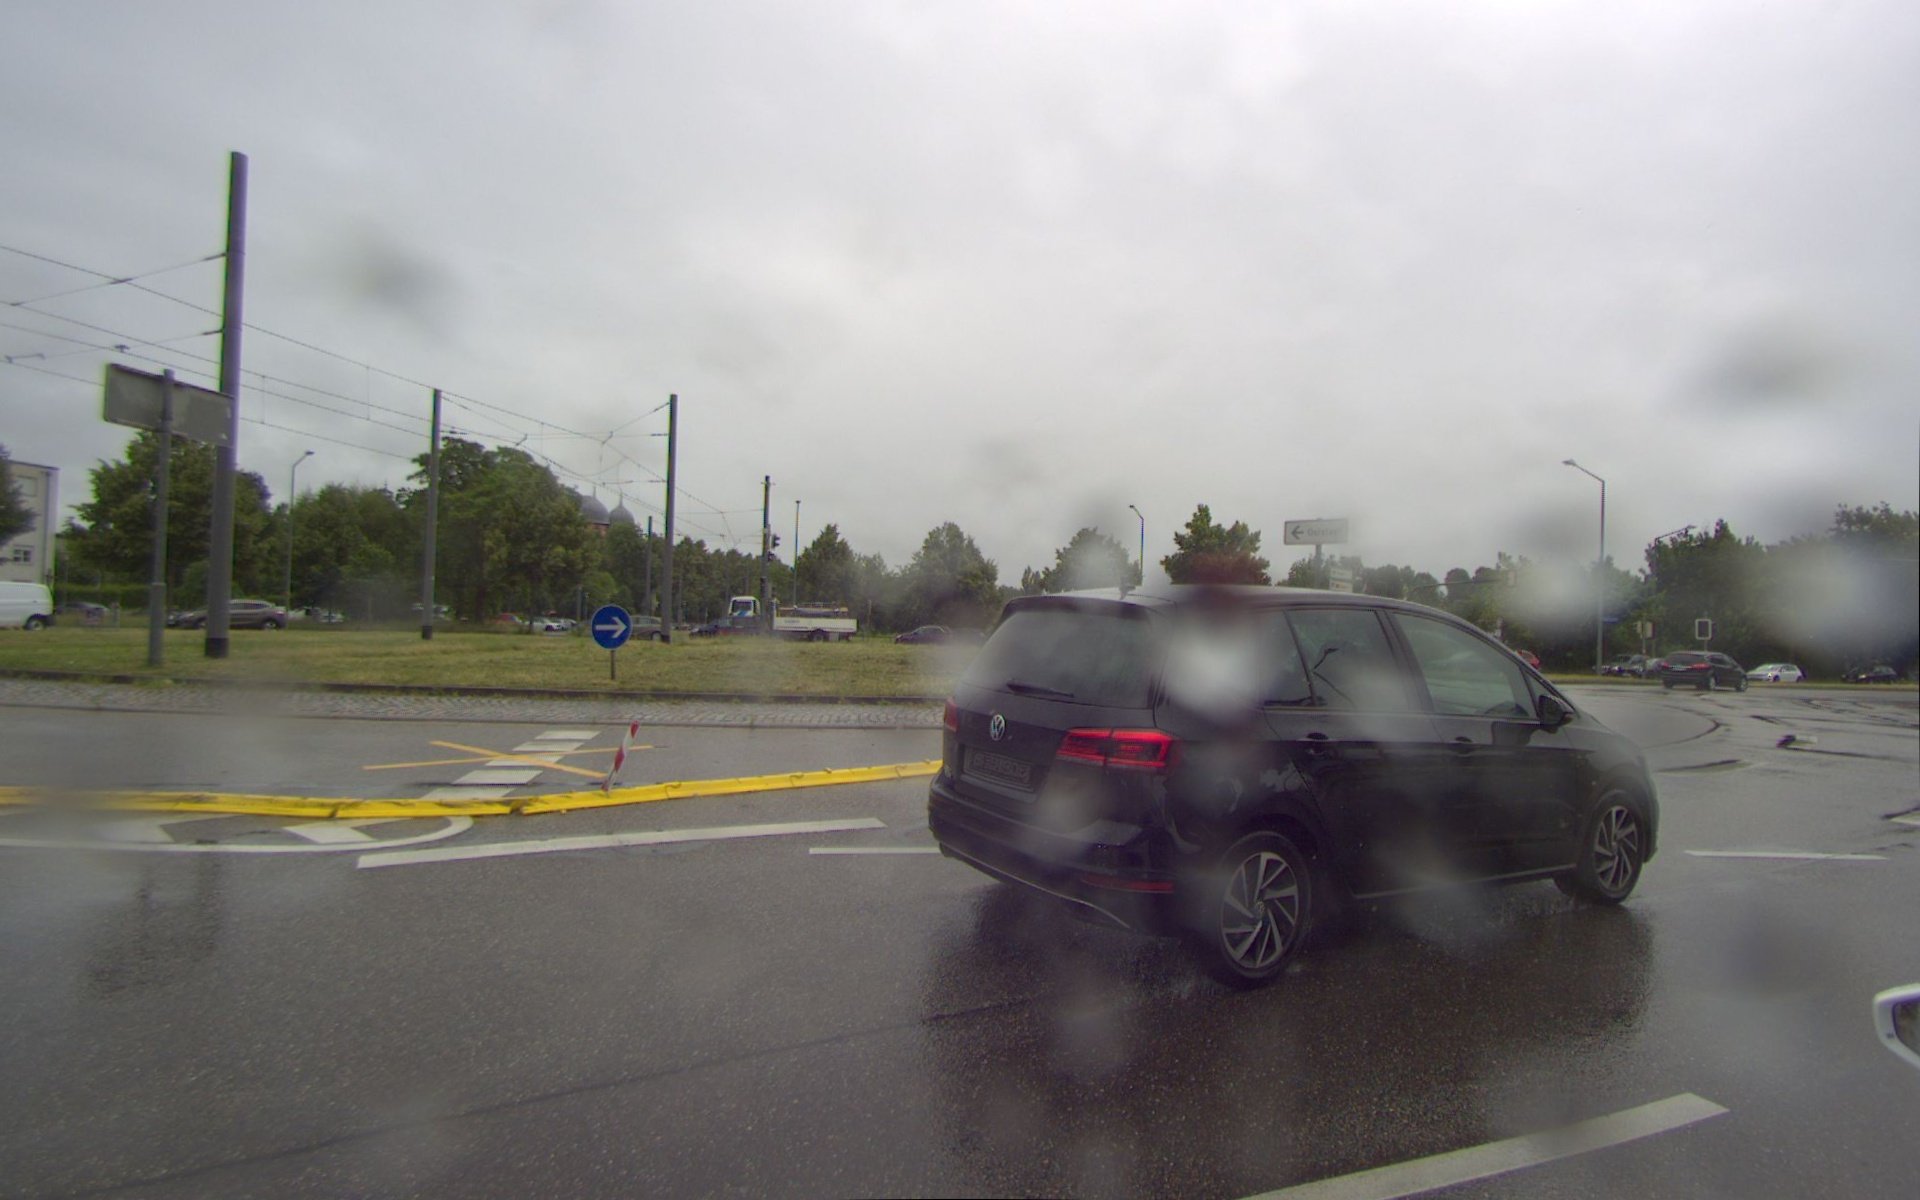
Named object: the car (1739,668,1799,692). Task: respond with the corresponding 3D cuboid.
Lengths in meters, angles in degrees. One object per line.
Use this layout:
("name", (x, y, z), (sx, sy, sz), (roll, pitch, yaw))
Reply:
("car", (55.758, 5.514, 69.208), (4.196, 1.394, 1.621), (5, -1, -27))

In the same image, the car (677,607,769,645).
("car", (-13.255, 1.445, 56.403), (4.780, 1.767, 1.775), (4, -1, -10))

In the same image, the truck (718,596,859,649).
("truck", (-10.988, 1.450, 64.948), (8.633, 2.747, 1.998), (4, -1, -6))

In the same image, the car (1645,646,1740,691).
("car", (31.822, 2.970, 43.606), (3.952, 1.669, 1.776), (5, -1, -29))

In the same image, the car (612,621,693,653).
("car", (-18.260, 2.192, 59.629), (4.480, 1.511, 1.604), (4, -1, -19))

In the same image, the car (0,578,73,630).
("car", (-34.609, 0.118, 35.793), (1.798, 1.746, 4.168), (4, -1, 12))

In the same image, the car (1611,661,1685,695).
("car", (41.152, 4.666, 60.060), (4.339, 1.669, 1.776), (5, -1, -28))

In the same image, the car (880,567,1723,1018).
("car", (1.911, 0.737, 5.265), (4.280, 1.537, 1.775), (3, -1, -30))

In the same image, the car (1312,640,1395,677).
("car", (22.157, 3.283, 56.722), (4.064, 1.669, 1.790), (4, -1, 14))

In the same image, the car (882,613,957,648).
("car", (-2.287, 1.735, 57.332), (3.919, 1.669, 1.790), (4, -1, 10))

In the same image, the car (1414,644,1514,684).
("car", (26.563, 3.356, 53.063), (4.305, 1.669, 1.790), (4, -1, 8))

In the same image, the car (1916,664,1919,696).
("car", (52.541, 4.360, 53.002), (3.895, 1.669, 1.675), (4, -1, -25))

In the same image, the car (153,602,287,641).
("car", (-33.071, 0.985, 45.048), (1.583, 1.511, 4.541), (4, -1, 30))

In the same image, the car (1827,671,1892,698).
("car", (65.650, 6.161, 73.319), (3.938, 1.669, 1.782), (4, -1, -18))

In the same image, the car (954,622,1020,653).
("car", (1.781, 2.449, 65.604), (3.919, 1.669, 1.790), (4, -1, 10))
